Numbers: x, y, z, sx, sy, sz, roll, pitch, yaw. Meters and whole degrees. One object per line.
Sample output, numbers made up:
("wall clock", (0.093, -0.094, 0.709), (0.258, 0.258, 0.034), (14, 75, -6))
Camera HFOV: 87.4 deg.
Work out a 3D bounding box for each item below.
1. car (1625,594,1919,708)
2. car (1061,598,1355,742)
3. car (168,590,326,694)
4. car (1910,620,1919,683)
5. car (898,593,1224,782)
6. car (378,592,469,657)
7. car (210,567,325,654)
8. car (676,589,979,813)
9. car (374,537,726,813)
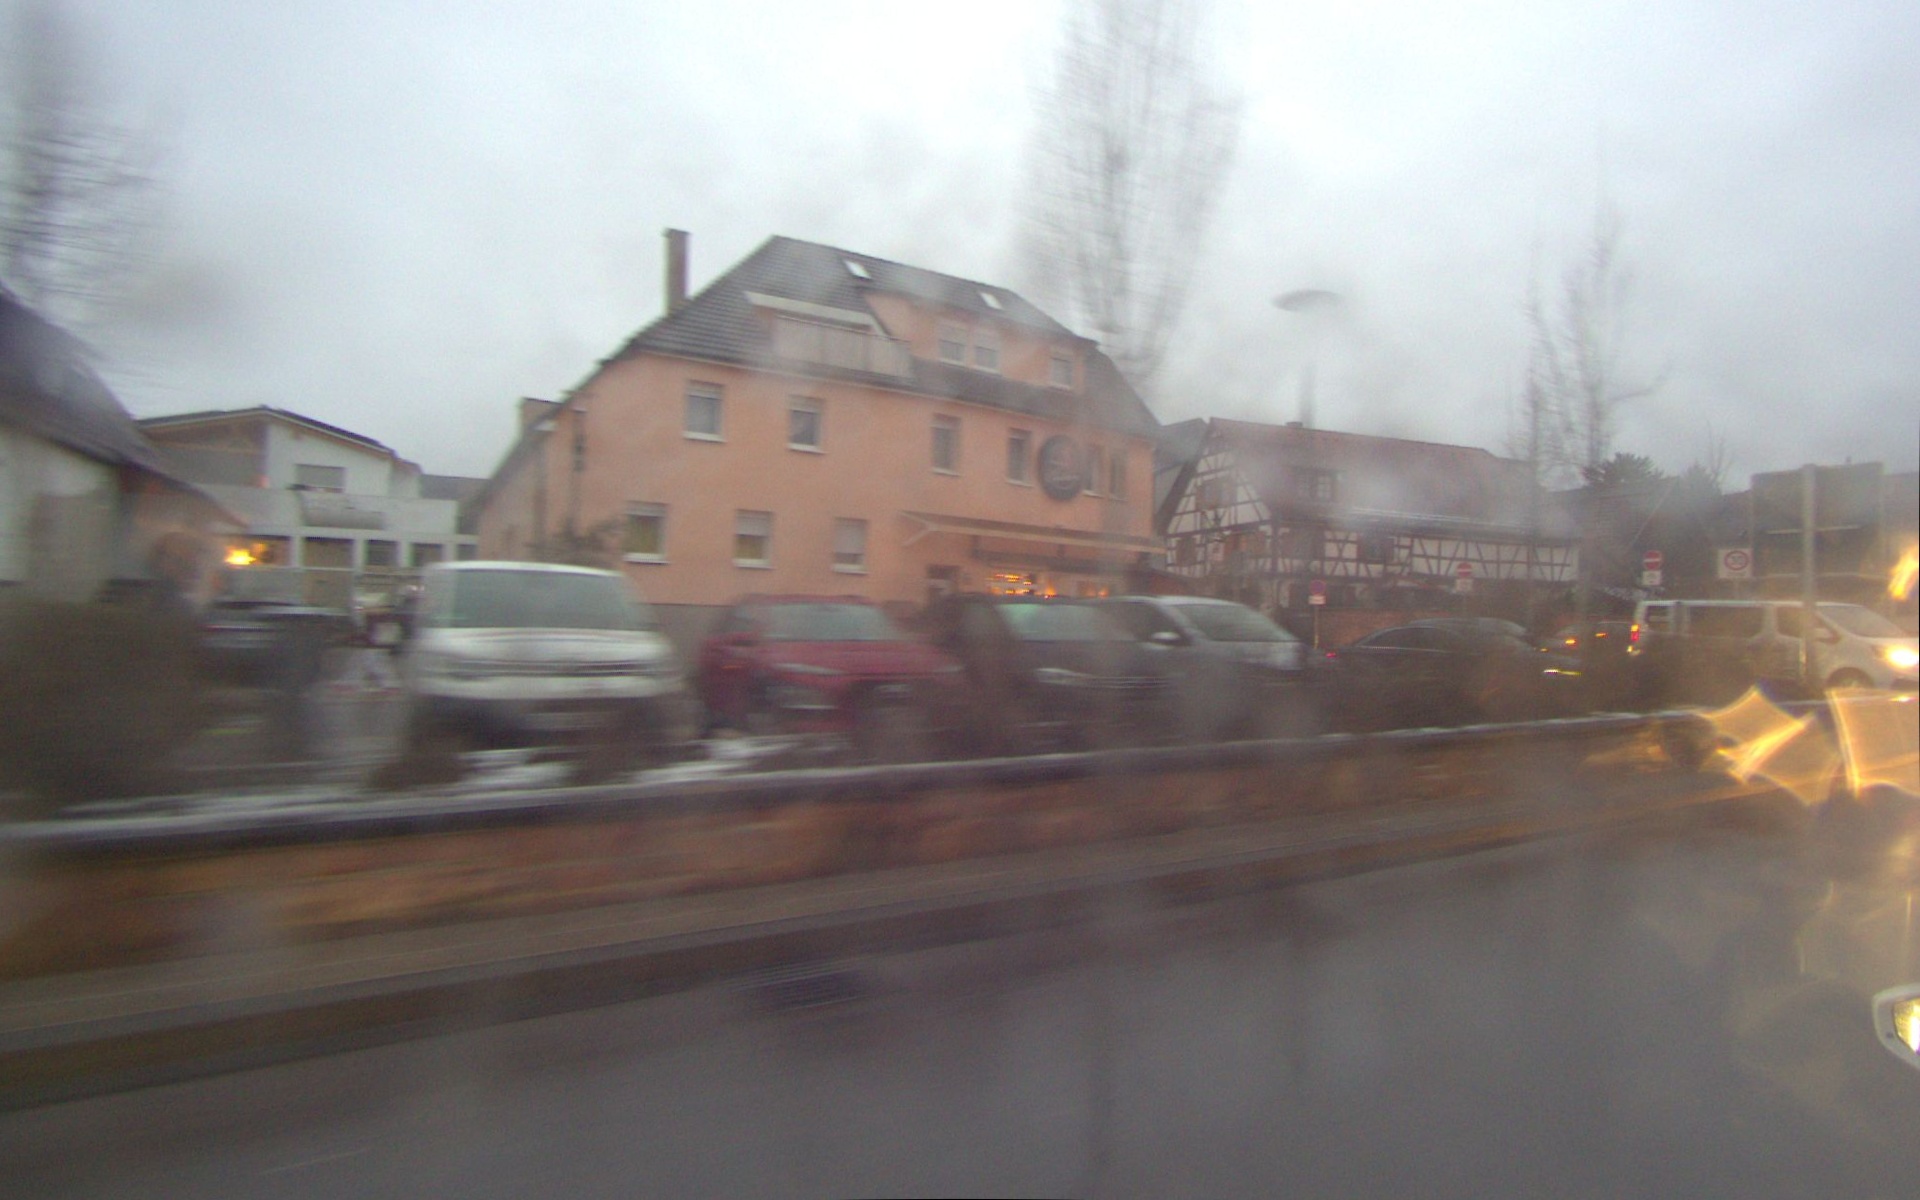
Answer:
("car", (16.415, 0.883, 20.015), (1.684, 1.842, 5.393), (2, 1, -17))
("car", (2.942, 0.773, 12.624), (1.687, 1.466, 3.532), (2, 0, -26))
("car", (-12.438, 0.685, 17.765), (1.979, 1.518, 4.060), (4, -1, -33))
("car", (35.275, 1.858, 34.370), (1.960, 2.281, 4.389), (4, -1, 12))
("car", (0.877, 0.791, 11.136), (1.637, 1.666, 4.153), (2, 0, -26))
("car", (-14.718, 0.636, 27.712), (1.975, 1.518, 4.069), (4, -1, -27))
("car", (-15.023, 0.204, 21.739), (1.587, 1.680, 3.060), (4, -1, -42))
("car", (-1.520, 0.761, 9.778), (1.658, 1.674, 4.183), (2, 0, -26))
("car", (-3.771, 0.467, 8.642), (1.979, 1.689, 4.599), (2, 0, -33))
